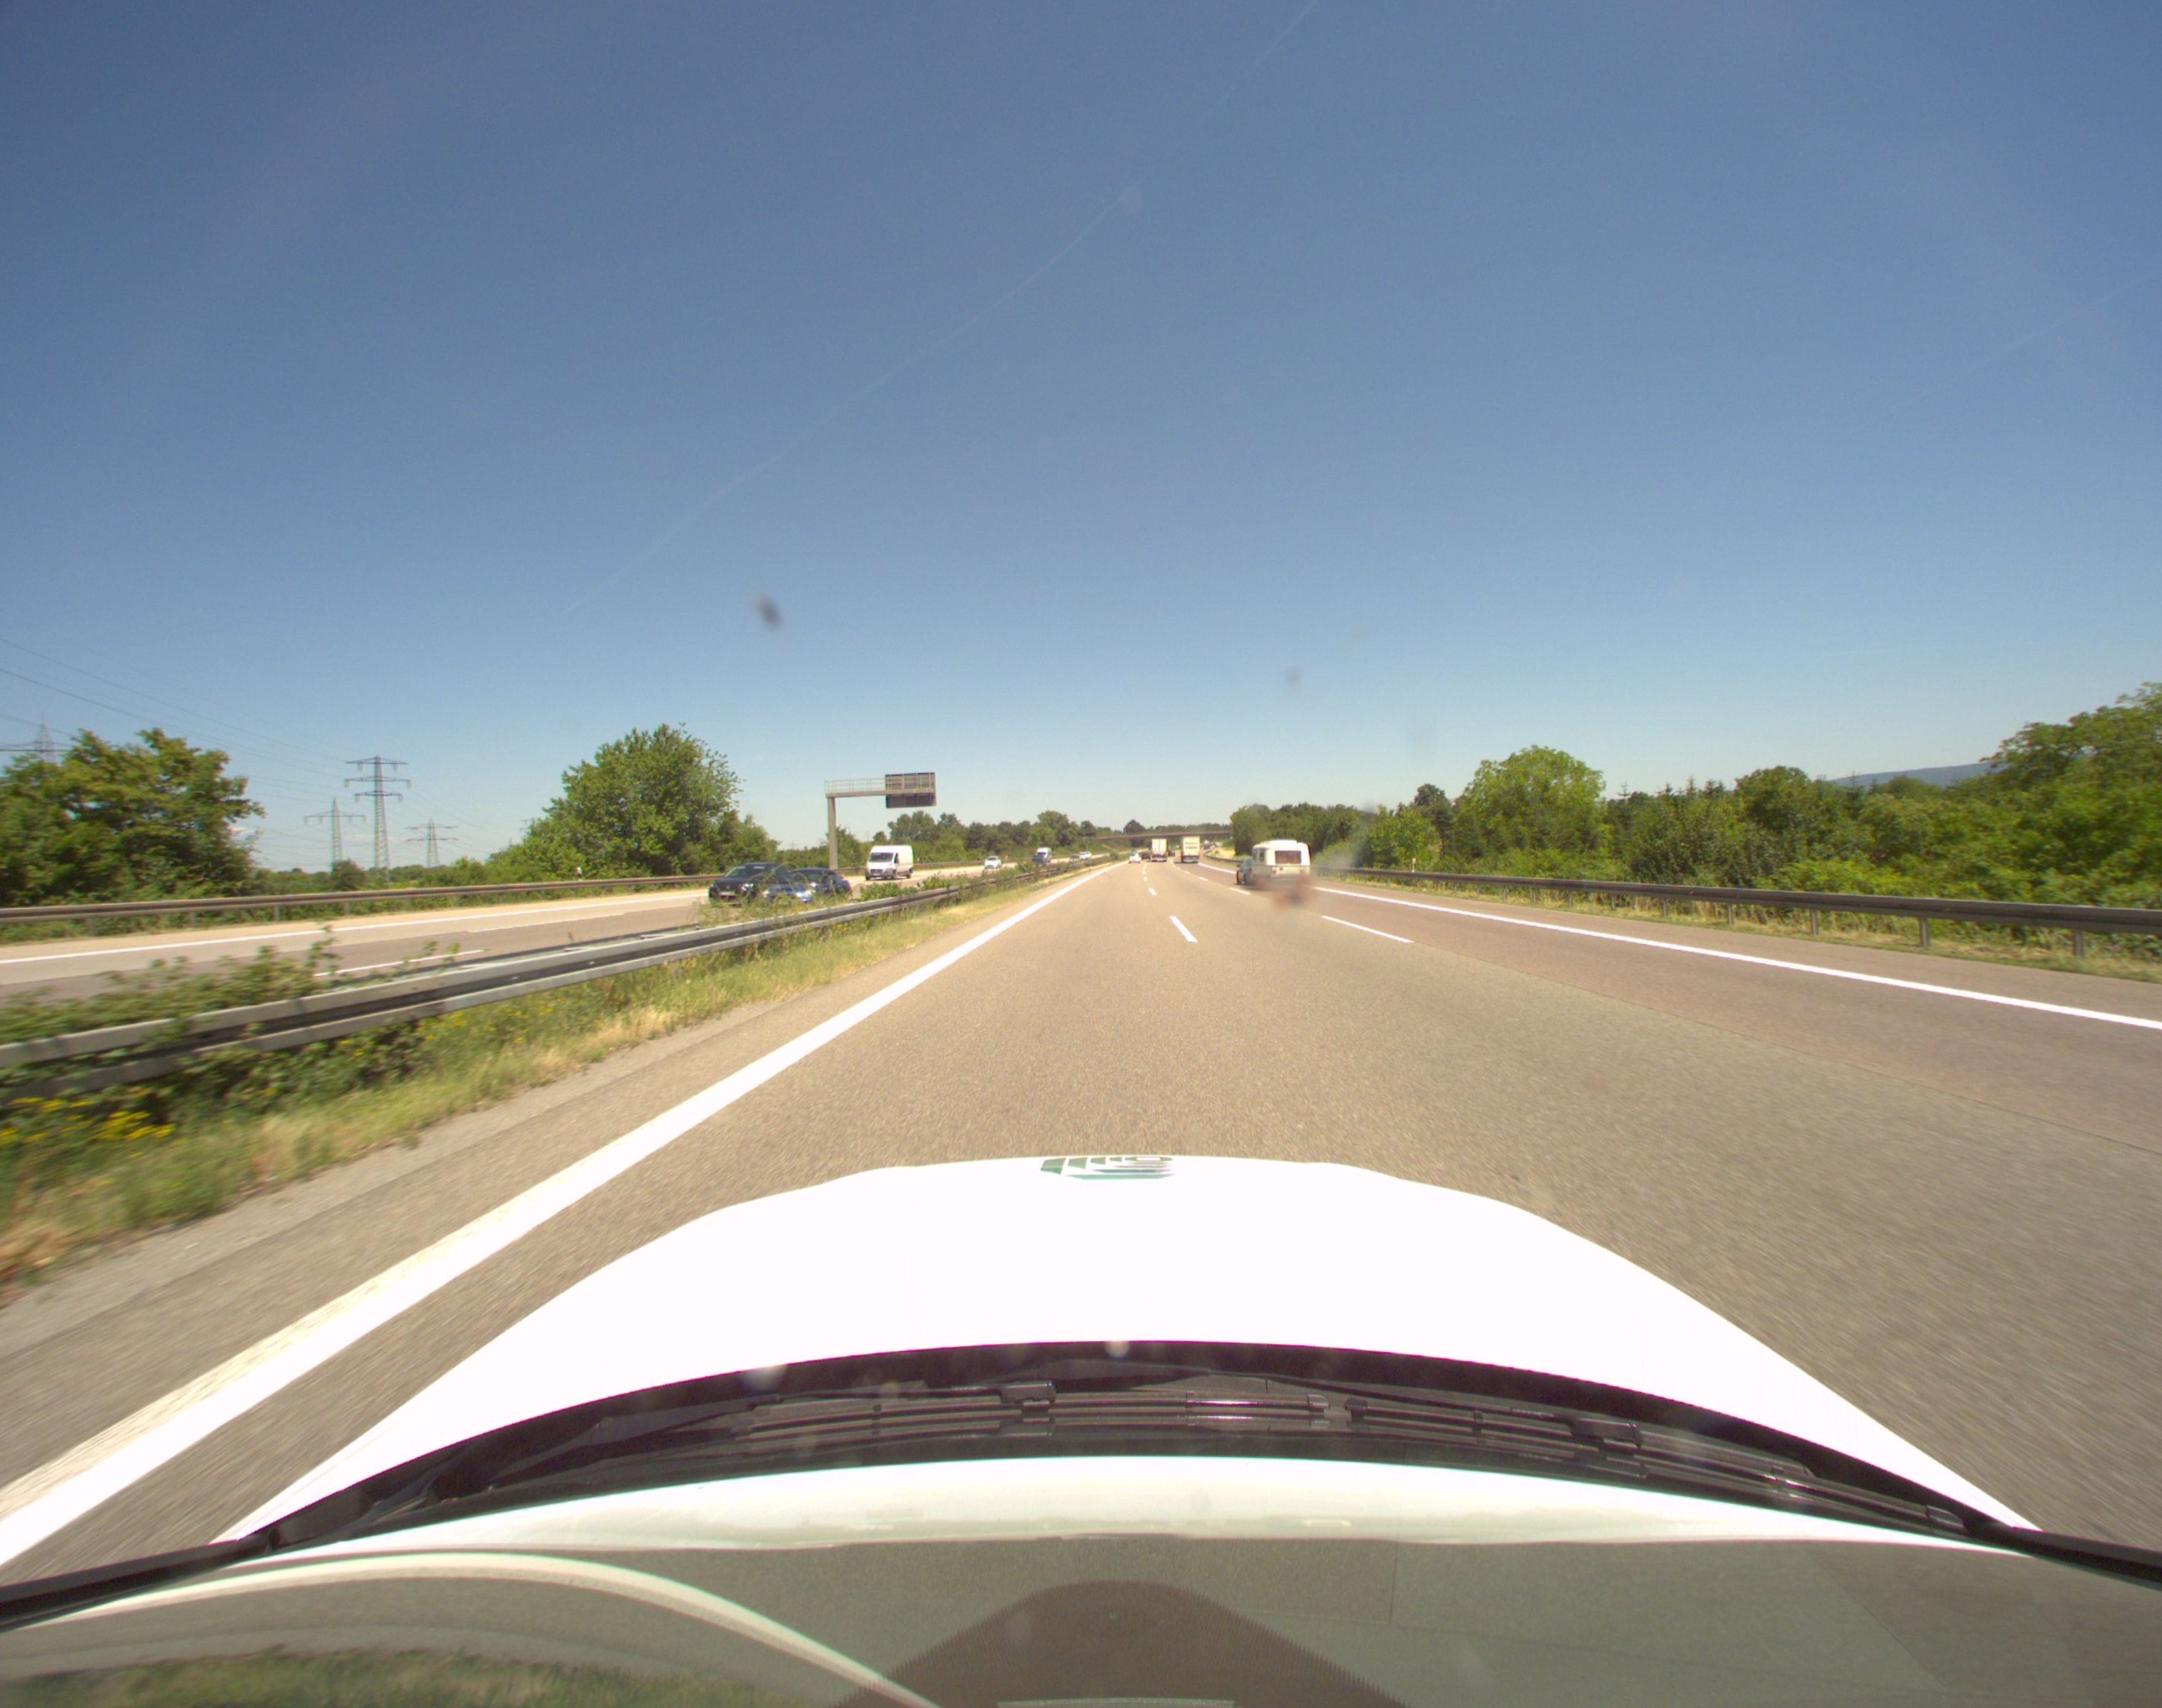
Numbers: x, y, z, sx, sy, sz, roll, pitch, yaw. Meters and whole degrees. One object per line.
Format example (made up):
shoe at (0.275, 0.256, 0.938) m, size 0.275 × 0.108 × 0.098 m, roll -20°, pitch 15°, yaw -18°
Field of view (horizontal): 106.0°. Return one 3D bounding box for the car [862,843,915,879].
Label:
car at (-14.025, 0.508, 59.857) m, size 2.123 × 2.477 × 6.337 m, roll -1°, pitch 0°, yaw 2°

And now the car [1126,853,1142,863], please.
car at (8.361, 0.614, 127.564) m, size 1.815 × 1.547 × 4.334 m, roll 0°, pitch 1°, yaw 13°

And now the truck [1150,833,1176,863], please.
truck at (14.648, -1.199, 144.214) m, size 3.645 × 5.018 × 16.056 m, roll -1°, pitch 1°, yaw 8°

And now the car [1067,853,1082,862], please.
car at (-0.970, 0.549, 125.990) m, size 1.738 × 1.466 × 4.257 m, roll -1°, pitch 0°, yaw 6°

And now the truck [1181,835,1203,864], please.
truck at (17.677, -0.890, 129.289) m, size 3.162 × 4.304 × 16.058 m, roll -1°, pitch 1°, yaw 9°

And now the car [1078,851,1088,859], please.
car at (0.495, 0.249, 171.397) m, size 1.780 × 1.680 × 4.907 m, roll -1°, pitch 0°, yaw 4°

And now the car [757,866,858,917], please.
car at (-8.142, 1.077, 24.571) m, size 1.625 × 1.354 × 3.831 m, roll -1°, pitch 0°, yaw 2°

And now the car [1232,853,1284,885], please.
car at (9.157, 0.722, 42.545) m, size 1.879 × 1.515 × 5.385 m, roll 0°, pitch 1°, yaw 4°

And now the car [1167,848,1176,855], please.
car at (23.395, -0.644, 211.105) m, size 1.815 × 1.547 × 4.334 m, roll 0°, pitch 1°, yaw 13°

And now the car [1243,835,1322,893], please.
car at (8.931, 0.345, 36.696) m, size 2.432 × 2.321 × 5.326 m, roll -2°, pitch 1°, yaw 3°

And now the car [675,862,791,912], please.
car at (-11.707, 1.062, 27.757) m, size 1.971 × 1.510 × 4.237 m, roll -1°, pitch 0°, yaw 2°

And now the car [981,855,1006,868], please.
car at (-10.905, 0.908, 101.405) m, size 1.981 × 1.458 × 4.099 m, roll -1°, pitch 0°, yaw 10°

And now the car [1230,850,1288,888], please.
car at (9.152, 0.733, 42.287) m, size 2.036 × 1.658 × 5.515 m, roll -2°, pitch 1°, yaw 3°
